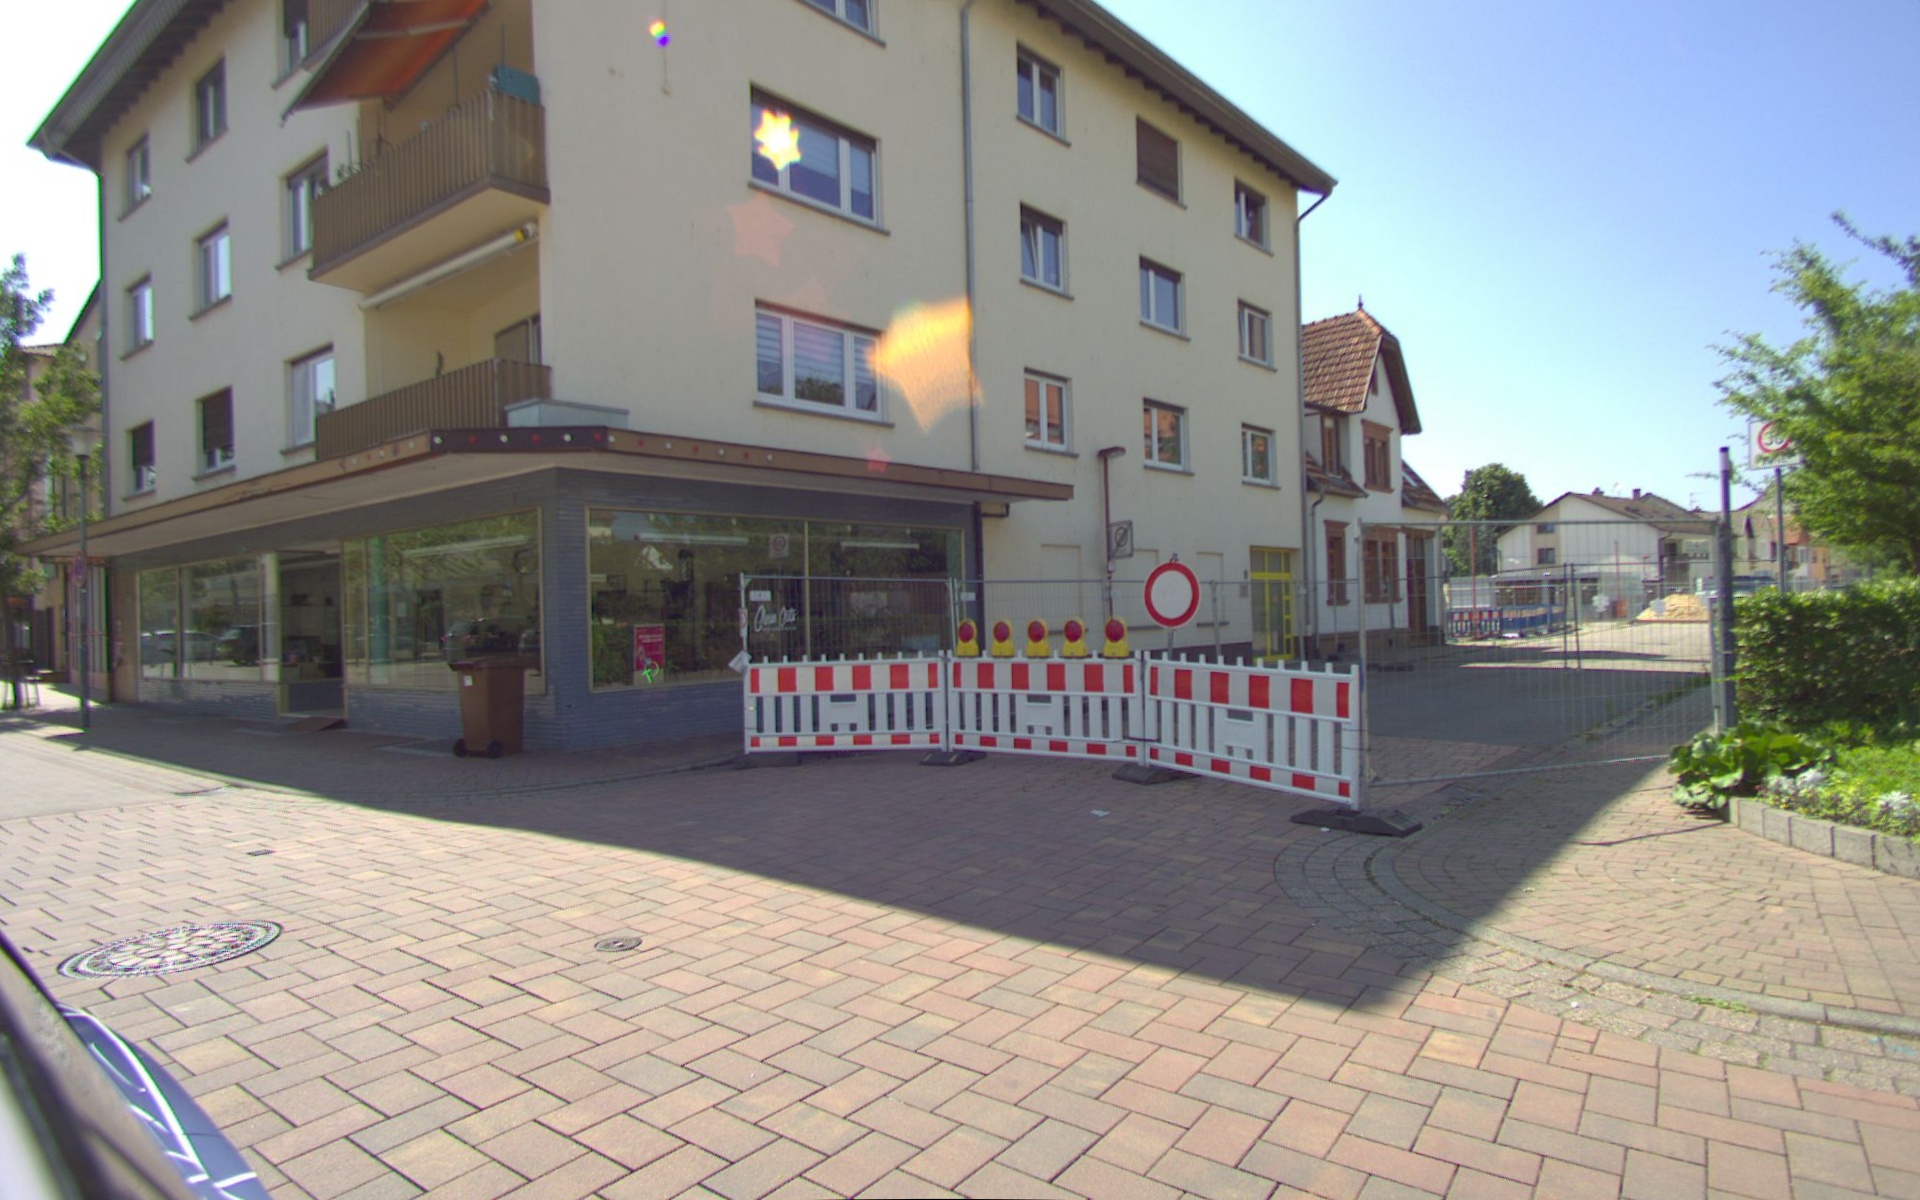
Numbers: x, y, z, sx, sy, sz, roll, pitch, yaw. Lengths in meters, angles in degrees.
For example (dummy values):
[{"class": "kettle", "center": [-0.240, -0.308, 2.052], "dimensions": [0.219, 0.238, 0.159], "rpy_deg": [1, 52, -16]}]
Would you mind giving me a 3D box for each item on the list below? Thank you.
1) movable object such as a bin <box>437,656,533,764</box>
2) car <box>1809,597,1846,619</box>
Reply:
[{"class": "movable object such as a bin", "center": [-5.107, 1.159, 10.892], "dimensions": [0.661, 1.078, 0.650], "rpy_deg": [-2, 0, 30]}, {"class": "car", "center": [63.129, 0.565, 73.719], "dimensions": [1.812, 1.475, 3.894], "rpy_deg": [-2, -1, 38]}]
